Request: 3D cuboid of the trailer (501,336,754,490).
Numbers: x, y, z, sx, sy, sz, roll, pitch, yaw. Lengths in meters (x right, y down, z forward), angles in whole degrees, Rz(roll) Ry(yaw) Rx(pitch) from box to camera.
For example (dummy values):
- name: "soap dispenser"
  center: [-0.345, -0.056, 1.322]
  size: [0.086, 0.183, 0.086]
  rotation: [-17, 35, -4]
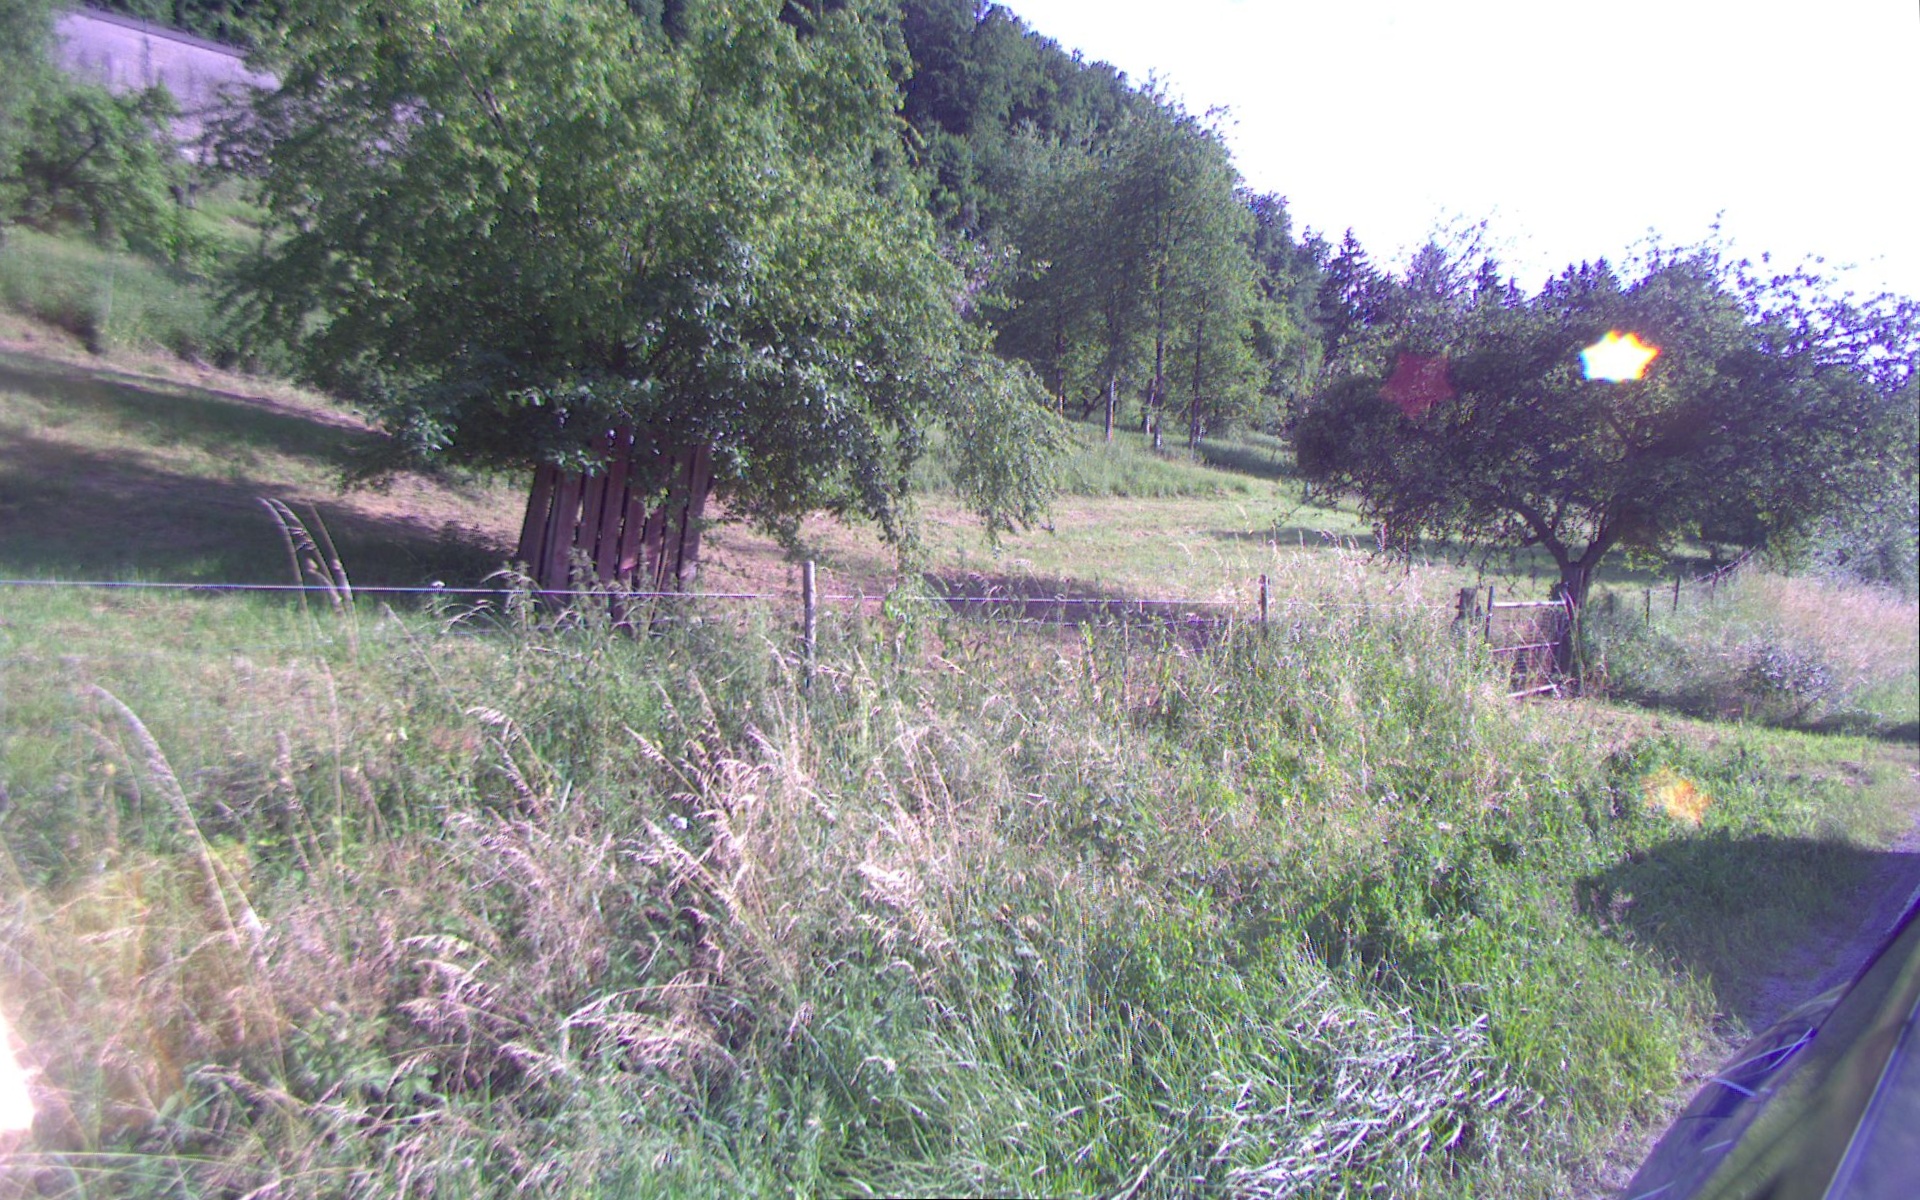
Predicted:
- name: "trailer"
  center: [-7.759, -4.234, 24.017]
  size: [5.159, 2.590, 2.155]
  rotation: [4, 0, -45]
